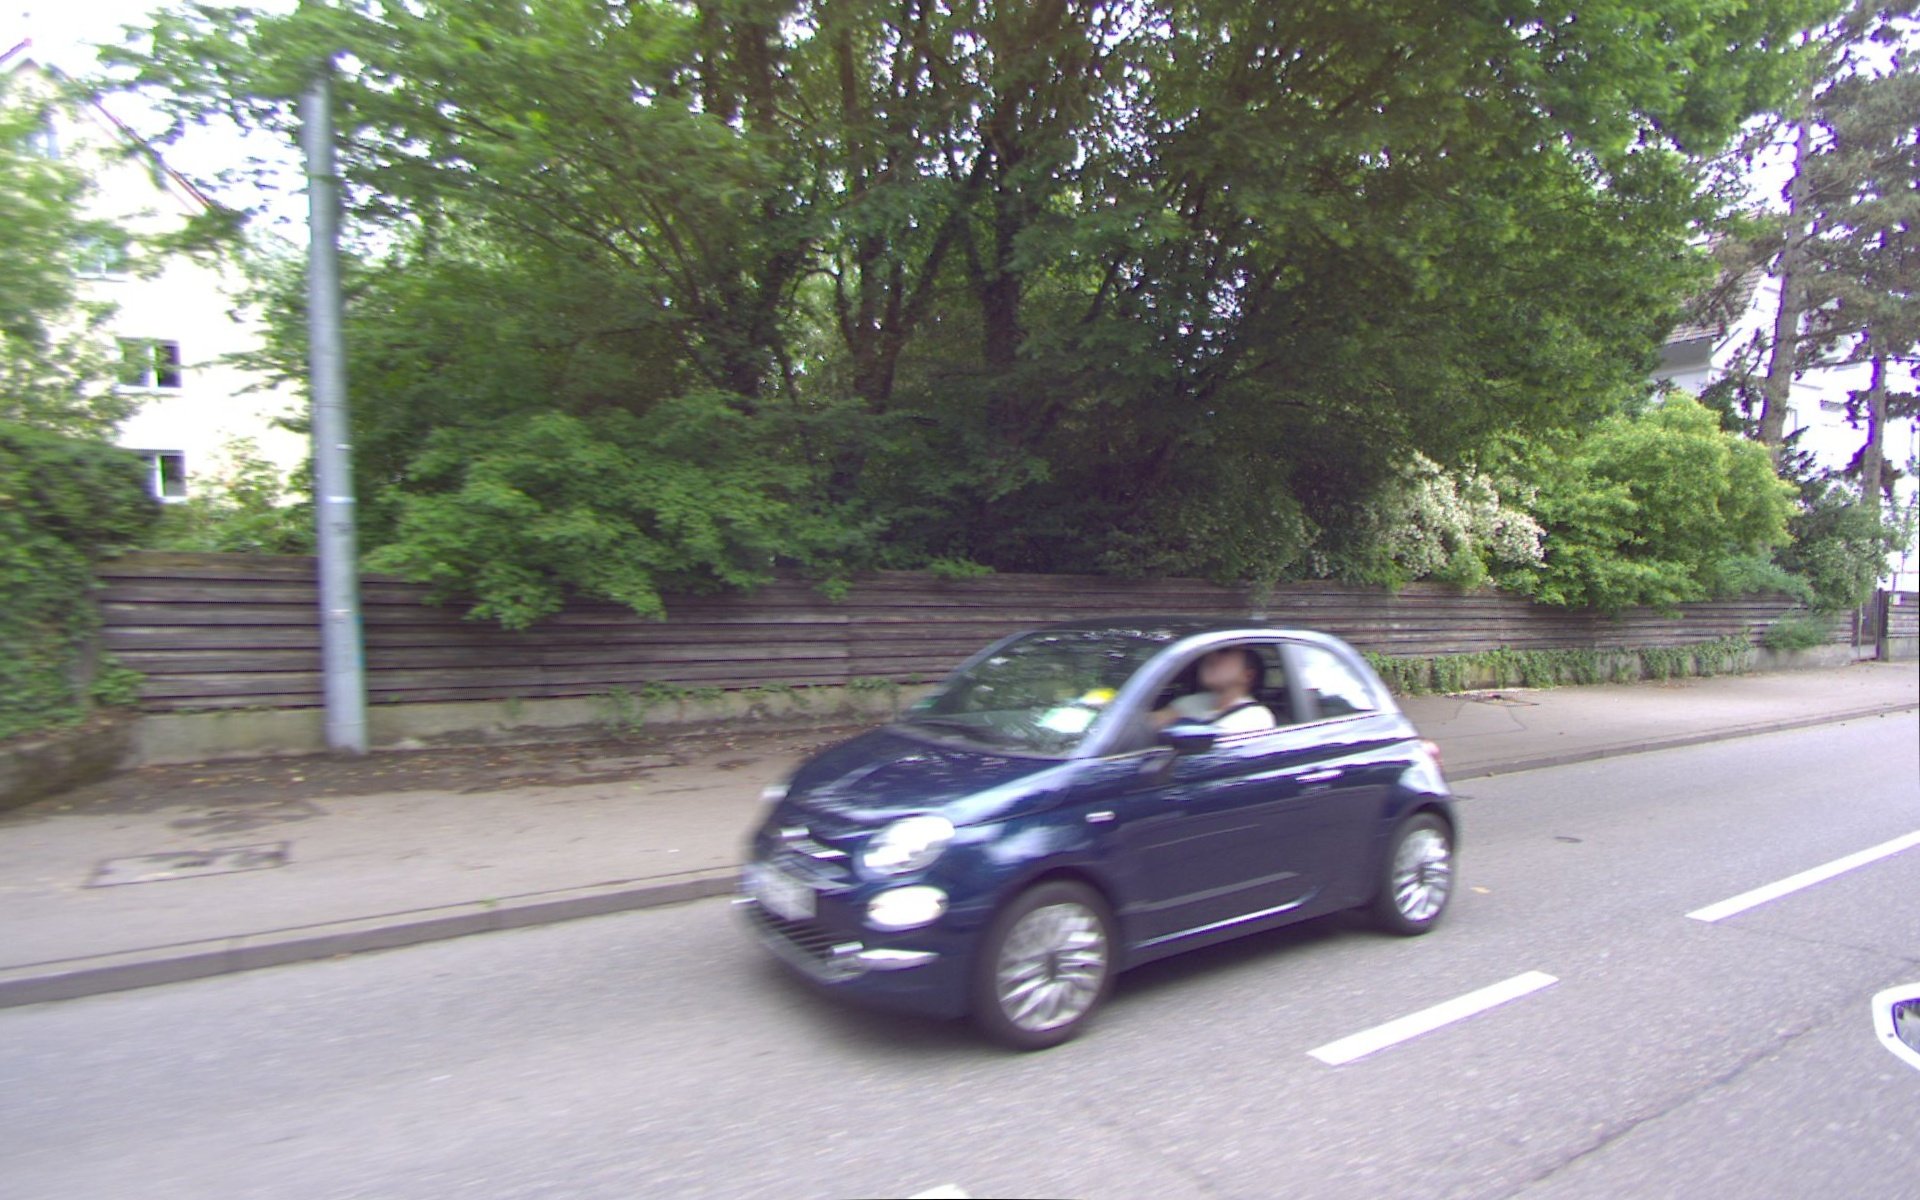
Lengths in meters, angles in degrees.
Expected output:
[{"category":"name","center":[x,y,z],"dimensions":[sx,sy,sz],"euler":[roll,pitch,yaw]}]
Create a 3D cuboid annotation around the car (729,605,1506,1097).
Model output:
[{"category":"car","center":[0.881,0.784,4.785],"dimensions":[3.497,1.491,1.708],"euler":[1,0,-36]}]
